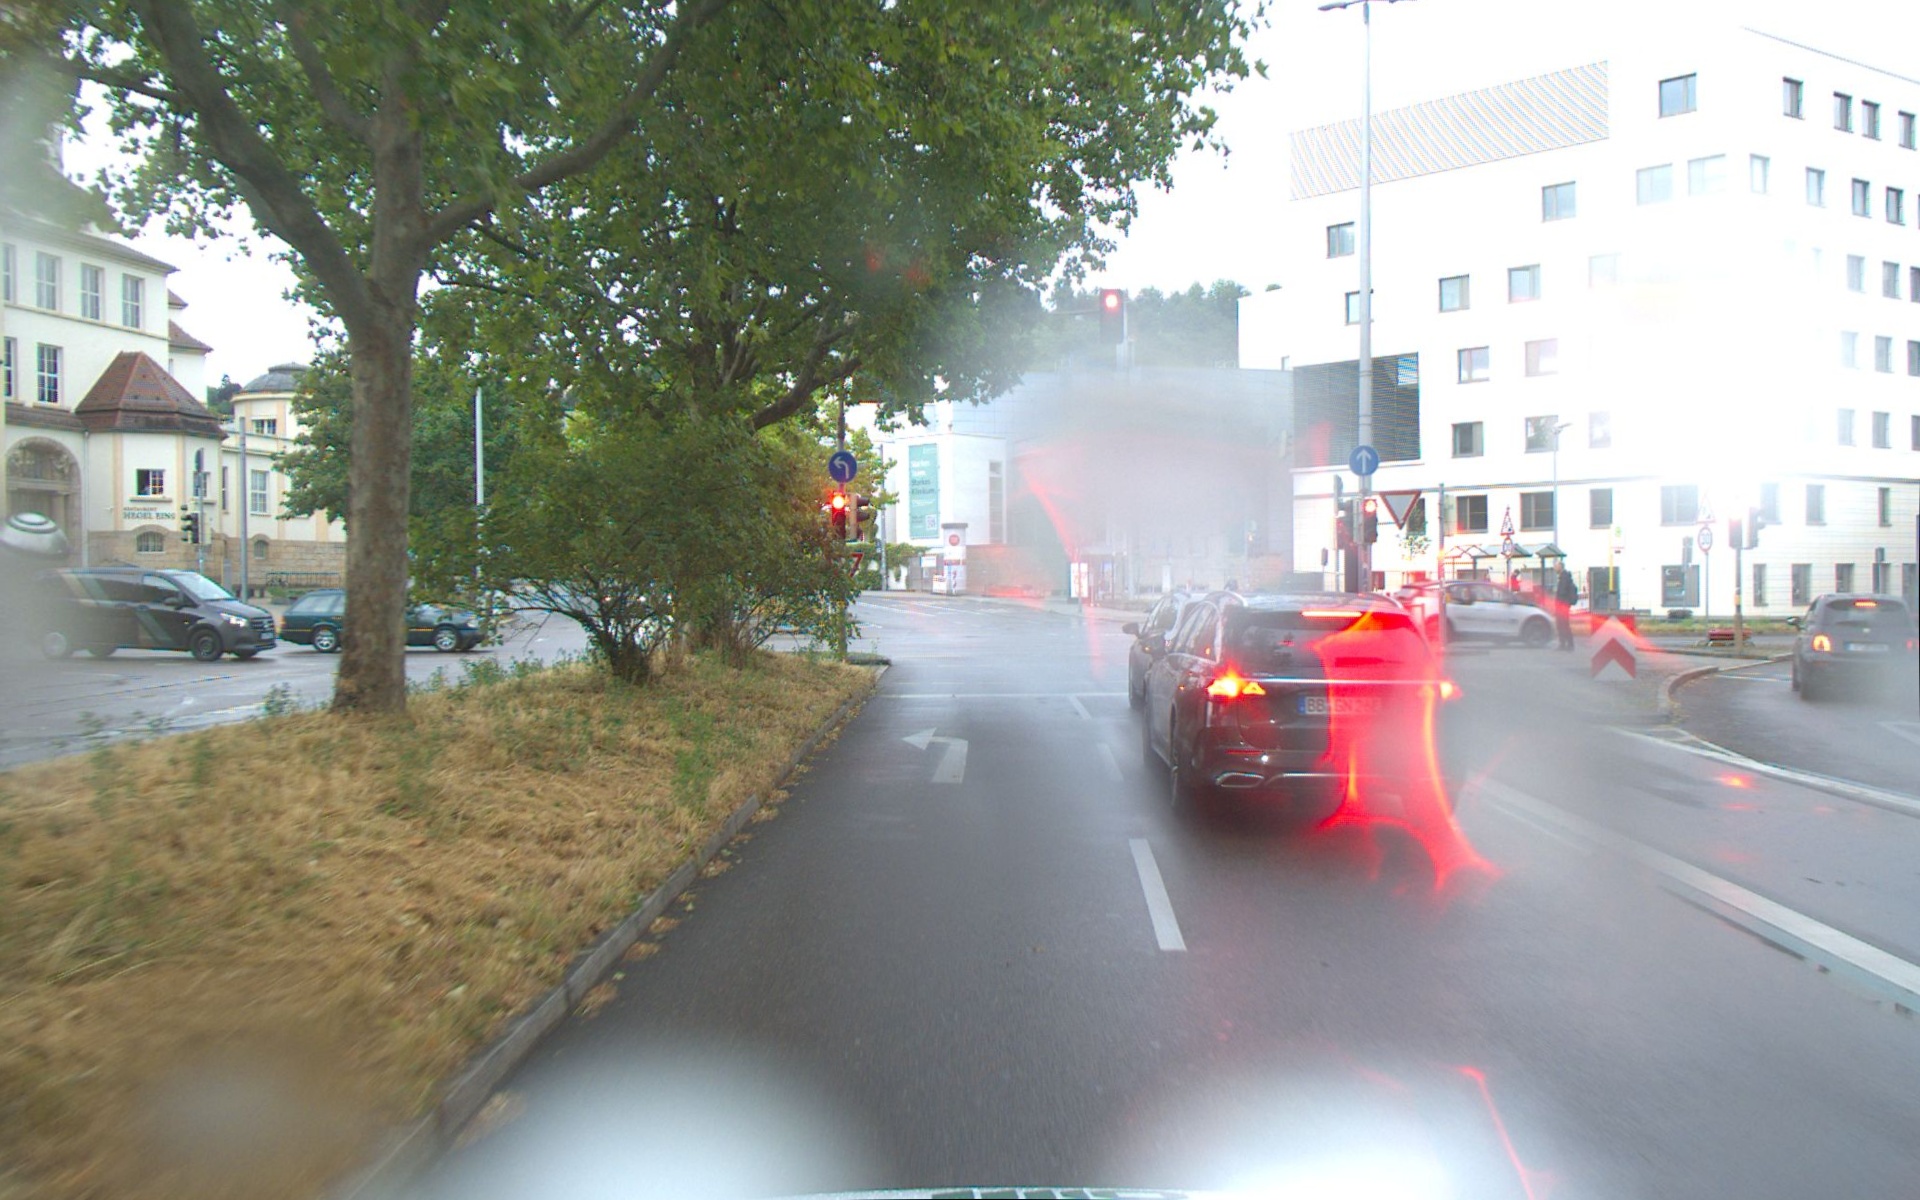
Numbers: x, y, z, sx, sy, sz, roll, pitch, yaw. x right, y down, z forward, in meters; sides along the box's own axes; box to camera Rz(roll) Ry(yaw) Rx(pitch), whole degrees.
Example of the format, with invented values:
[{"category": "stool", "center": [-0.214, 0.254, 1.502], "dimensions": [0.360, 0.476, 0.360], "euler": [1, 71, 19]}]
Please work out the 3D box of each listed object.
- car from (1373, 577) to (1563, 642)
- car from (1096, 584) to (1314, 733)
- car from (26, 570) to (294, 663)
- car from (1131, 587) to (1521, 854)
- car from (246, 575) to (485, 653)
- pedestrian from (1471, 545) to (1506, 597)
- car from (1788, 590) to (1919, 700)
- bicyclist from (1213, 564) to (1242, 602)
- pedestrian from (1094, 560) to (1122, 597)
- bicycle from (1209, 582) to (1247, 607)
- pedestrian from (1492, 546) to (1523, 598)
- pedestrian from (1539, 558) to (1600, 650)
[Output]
[{"category": "car", "center": [12.024, 0.236, 39.221], "dimensions": [3.917, 1.446, 1.862], "euler": [1, 0, -12]}, {"category": "car", "center": [2.791, 0.598, 19.829], "dimensions": [1.637, 1.491, 4.509], "euler": [0, 2, -4]}, {"category": "car", "center": [-16.866, 0.319, 35.022], "dimensions": [4.672, 1.840, 2.001], "euler": [-1, 1, 2]}, {"category": "car", "center": [2.380, 0.683, 12.082], "dimensions": [1.840, 1.471, 4.931], "euler": [1, 1, 1]}, {"category": "car", "center": [-13.892, 0.310, 38.855], "dimensions": [4.854, 1.702, 2.000], "euler": [-1, 0, -2]}, {"category": "pedestrian", "center": [19.489, -1.052, 60.989], "dimensions": [0.934, 1.872, 0.822], "euler": [1, -1, -10]}, {"category": "car", "center": [13.293, 0.626, 24.461], "dimensions": [1.826, 1.475, 3.995], "euler": [1, 0, 27]}, {"category": "bicyclist", "center": [11.829, -0.748, 73.203], "dimensions": [1.116, 1.661, 0.693], "euler": [1, -1, -37]}, {"category": "pedestrian", "center": [7.209, -1.057, 80.749], "dimensions": [1.231, 1.749, 1.016], "euler": [1, 0, 0]}, {"category": "bicycle", "center": [11.863, -0.234, 73.225], "dimensions": [1.802, 1.075, 0.639], "euler": [0, 0, -37]}, {"category": "pedestrian", "center": [20.928, -1.064, 63.189], "dimensions": [0.980, 1.969, 0.955], "euler": [1, -1, 11]}, {"category": "pedestrian", "center": [12.917, 0.086, 35.063], "dimensions": [0.812, 1.925, 1.026], "euler": [1, -1, -7]}]
